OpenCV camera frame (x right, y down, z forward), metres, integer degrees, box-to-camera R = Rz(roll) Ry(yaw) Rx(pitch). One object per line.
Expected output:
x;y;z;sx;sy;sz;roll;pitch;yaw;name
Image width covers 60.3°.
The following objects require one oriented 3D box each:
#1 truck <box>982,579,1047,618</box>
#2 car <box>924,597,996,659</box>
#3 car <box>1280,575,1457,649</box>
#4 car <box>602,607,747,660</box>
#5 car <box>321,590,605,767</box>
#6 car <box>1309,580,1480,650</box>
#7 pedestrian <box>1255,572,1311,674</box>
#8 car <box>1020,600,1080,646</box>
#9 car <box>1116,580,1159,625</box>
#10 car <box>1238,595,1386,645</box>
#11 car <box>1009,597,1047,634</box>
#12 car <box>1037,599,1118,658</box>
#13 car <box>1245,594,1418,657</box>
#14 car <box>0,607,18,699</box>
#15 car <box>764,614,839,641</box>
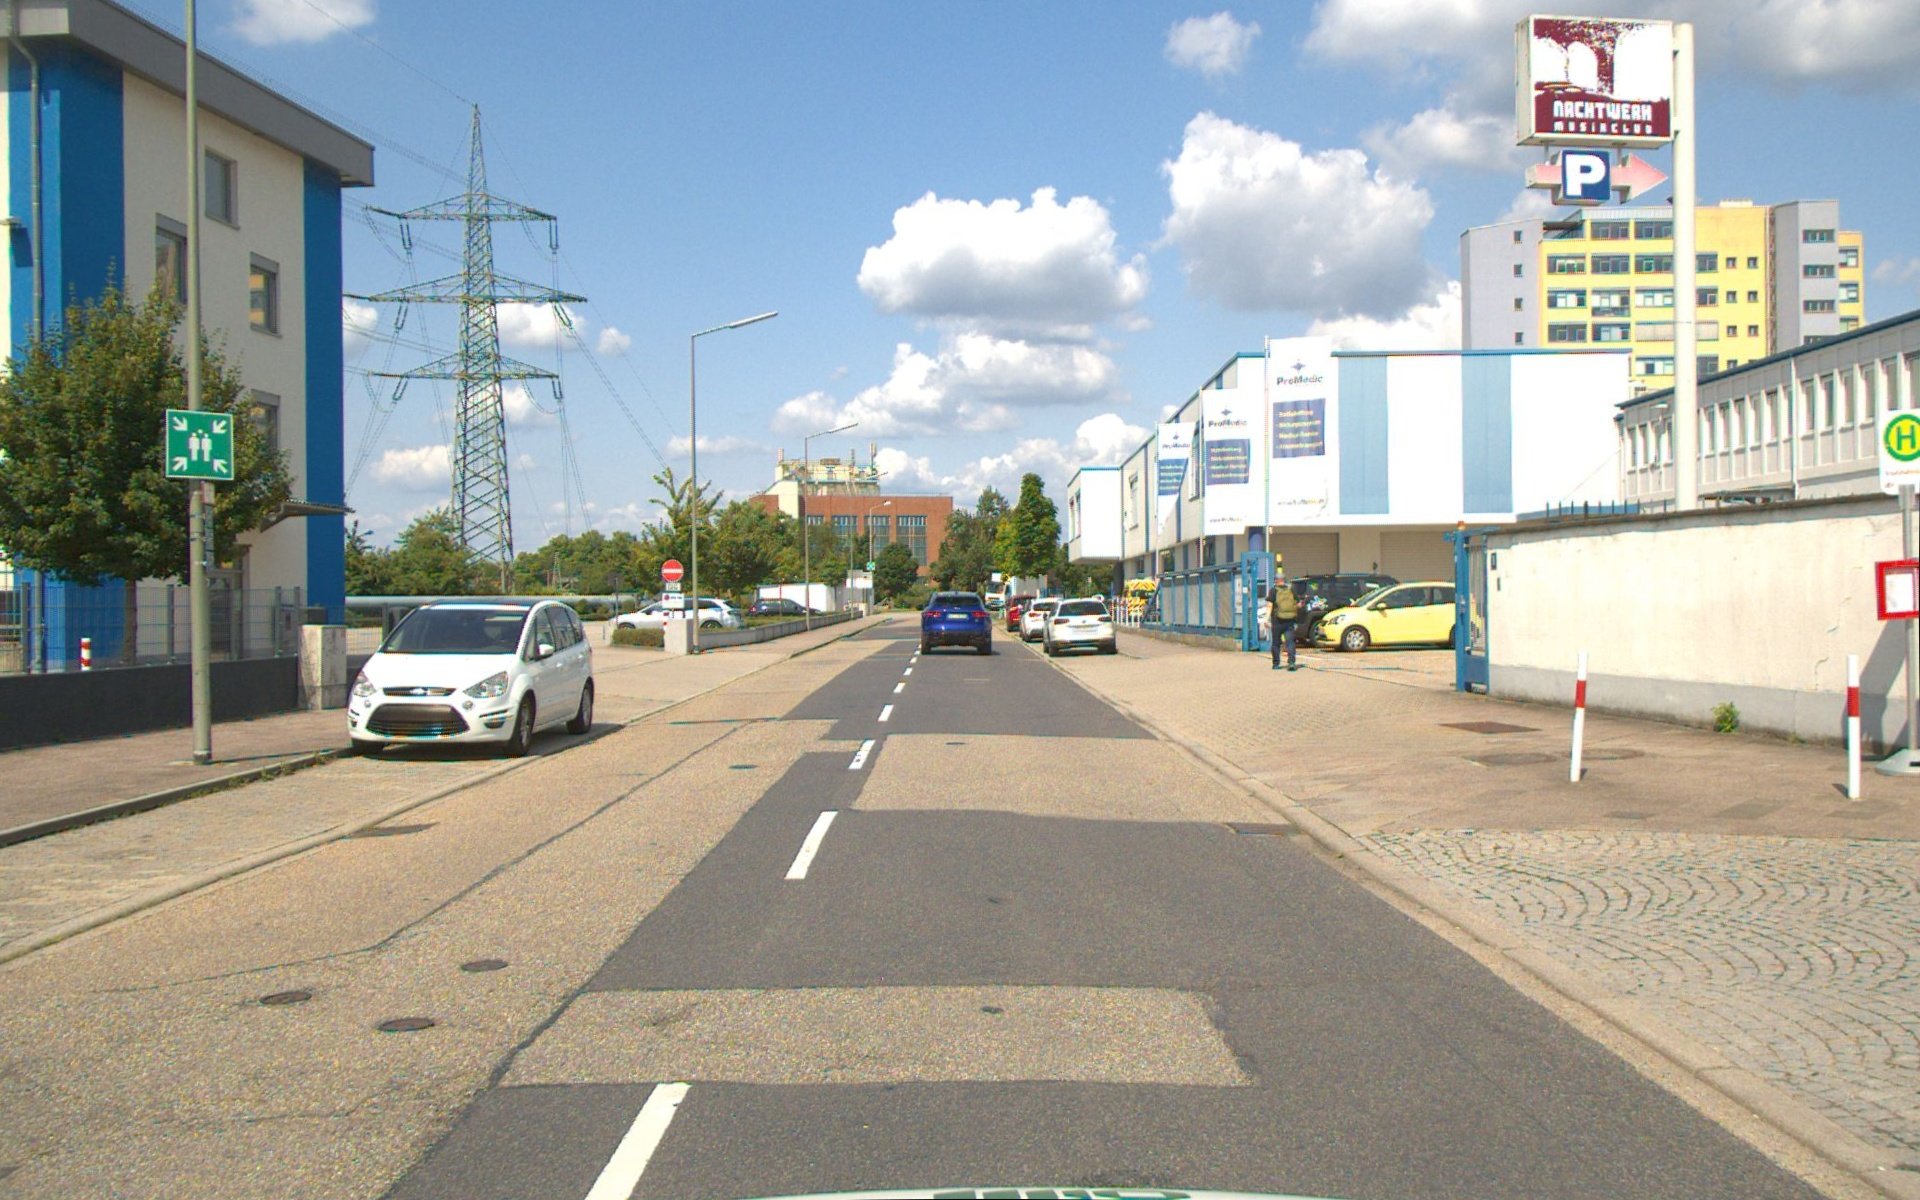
5.410;-0.213;163.254;2.278;3.629;9.350;1;1;30;truck
-0.037;0.742;45.623;1.871;1.621;4.700;0;0;-1;car
9.596;0.287;39.074;3.729;1.710;1.791;0;-1;-1;car
-9.788;1.136;57.031;4.661;1.630;1.998;-2;0;-4;car
-5.423;0.792;18.743;1.829;1.738;4.752;0;0;-1;car
9.606;0.323;36.731;3.334;1.516;1.791;0;-1;-1;car
5.806;0.410;29.756;0.754;1.787;0.787;-3;-1;-1;pedestrian
3.113;0.777;57.950;1.798;1.547;4.460;0;0;-1;car
10.160;0.161;94.764;1.884;2.507;5.259;0;0;0;car
10.942;0.611;51.665;4.191;1.445;2.000;-1;0;0;car
3.128;0.701;77.033;1.718;1.679;4.678;0;0;2;car
3.157;0.759;45.379;1.829;1.547;4.597;0;0;-1;car
9.310;0.627;41.704;3.905;1.445;2.000;-1;0;0;car
-16.931;0.883;25.999;1.833;1.533;3.761;-1;0;6;car
-8.713;1.522;91.165;3.905;1.400;1.803;-1;0;-1;car
